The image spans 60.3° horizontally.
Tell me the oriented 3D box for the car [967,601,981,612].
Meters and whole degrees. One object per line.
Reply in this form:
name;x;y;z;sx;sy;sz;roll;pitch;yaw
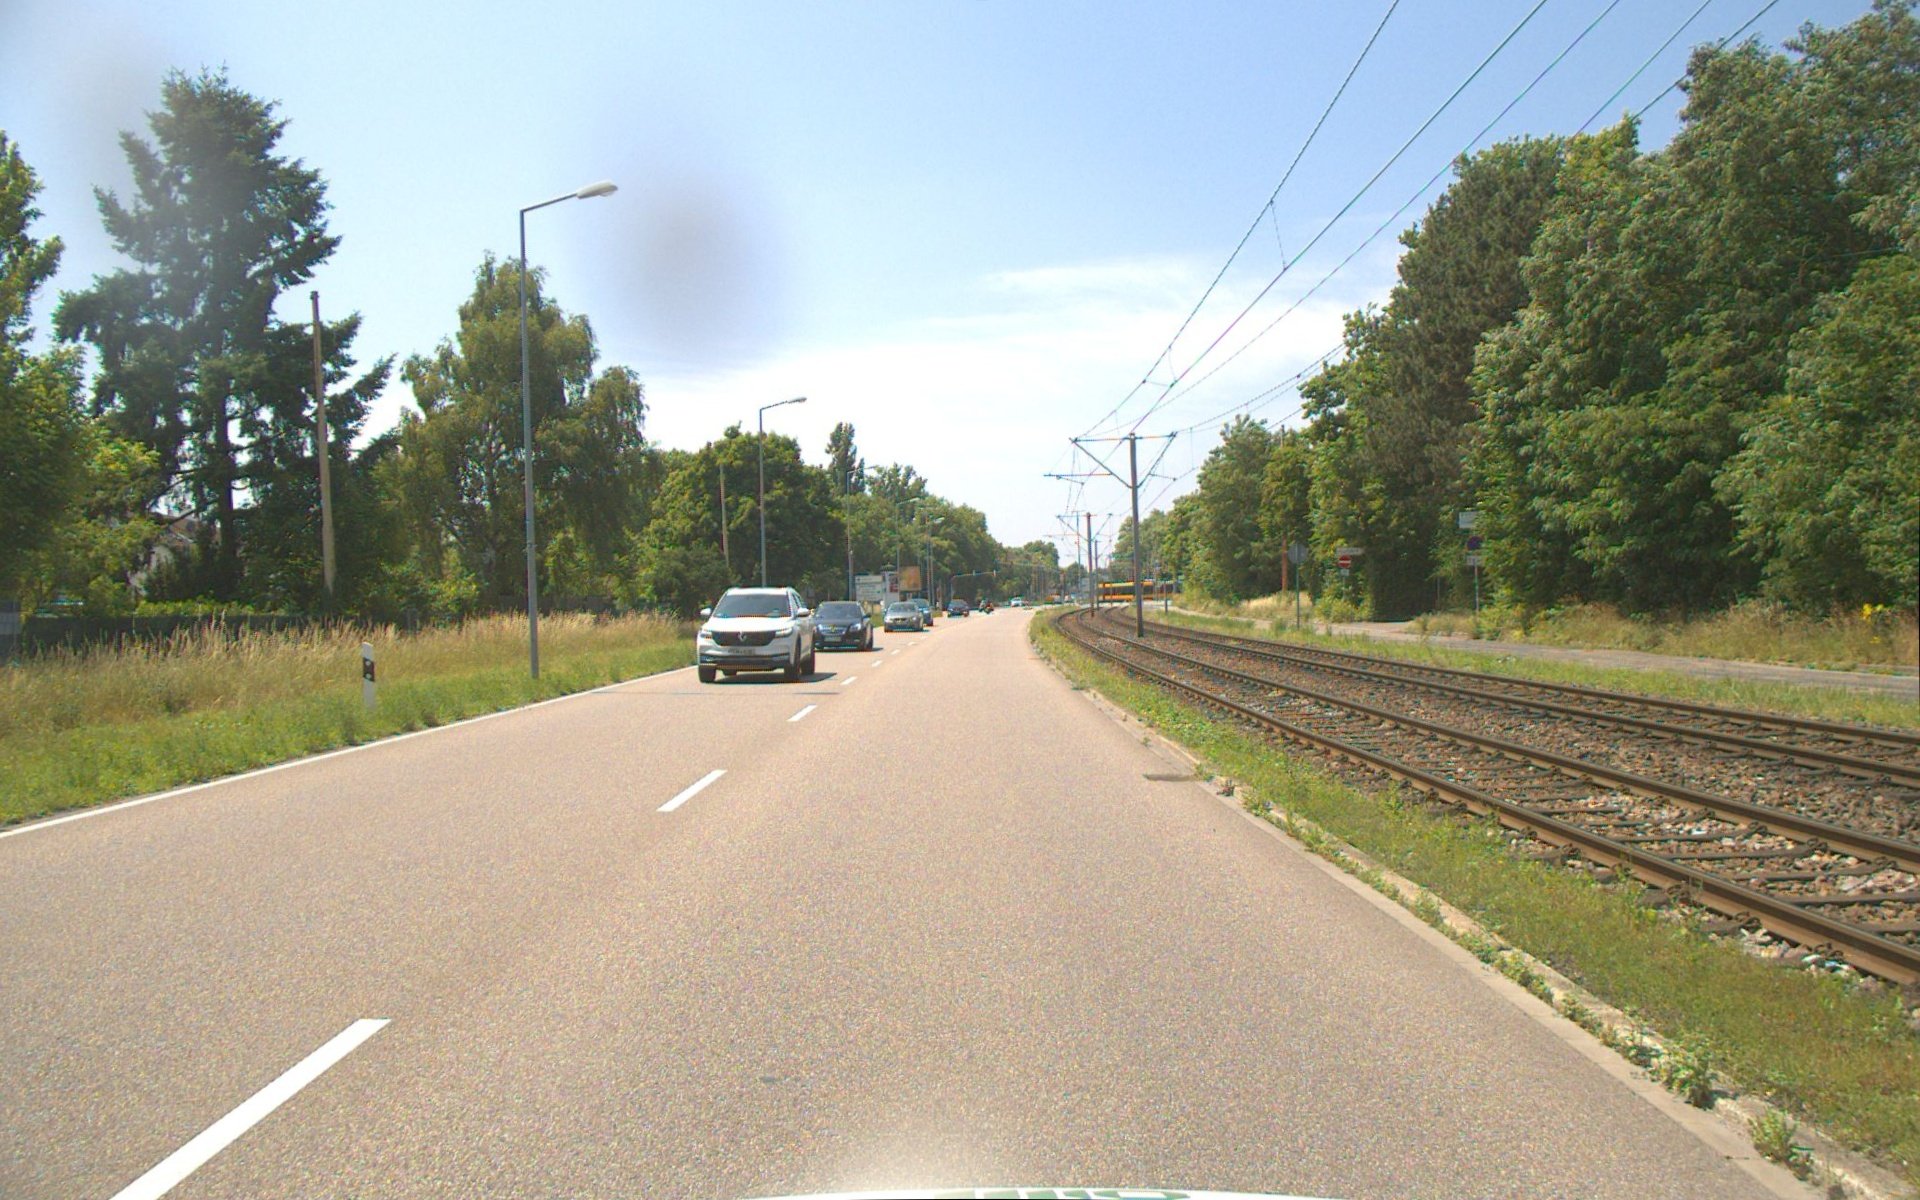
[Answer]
car;1.849;0.854;215.047;1.593;1.419;4.365;-1;0;4

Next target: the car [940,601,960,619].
car;-0.849;0.844;142.768;1.594;1.516;4.363;-1;0;0

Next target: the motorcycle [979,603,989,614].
motorcycle;2.496;0.918;171.835;0.950;1.137;2.733;-1;0;1

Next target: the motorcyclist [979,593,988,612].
motorcyclist;2.461;0.223;171.801;0.873;1.938;1.015;-1;-1;1

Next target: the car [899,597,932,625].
car;-2.566;0.648;96.401;1.780;1.565;4.363;-1;0;0

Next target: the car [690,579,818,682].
car;-3.949;0.562;32.421;1.896;1.827;4.711;-1;0;0

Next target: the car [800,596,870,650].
car;-3.773;0.675;50.700;1.780;1.555;4.363;-1;0;0

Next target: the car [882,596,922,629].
car;-2.792;0.601;80.105;1.780;1.519;4.363;-1;0;0
